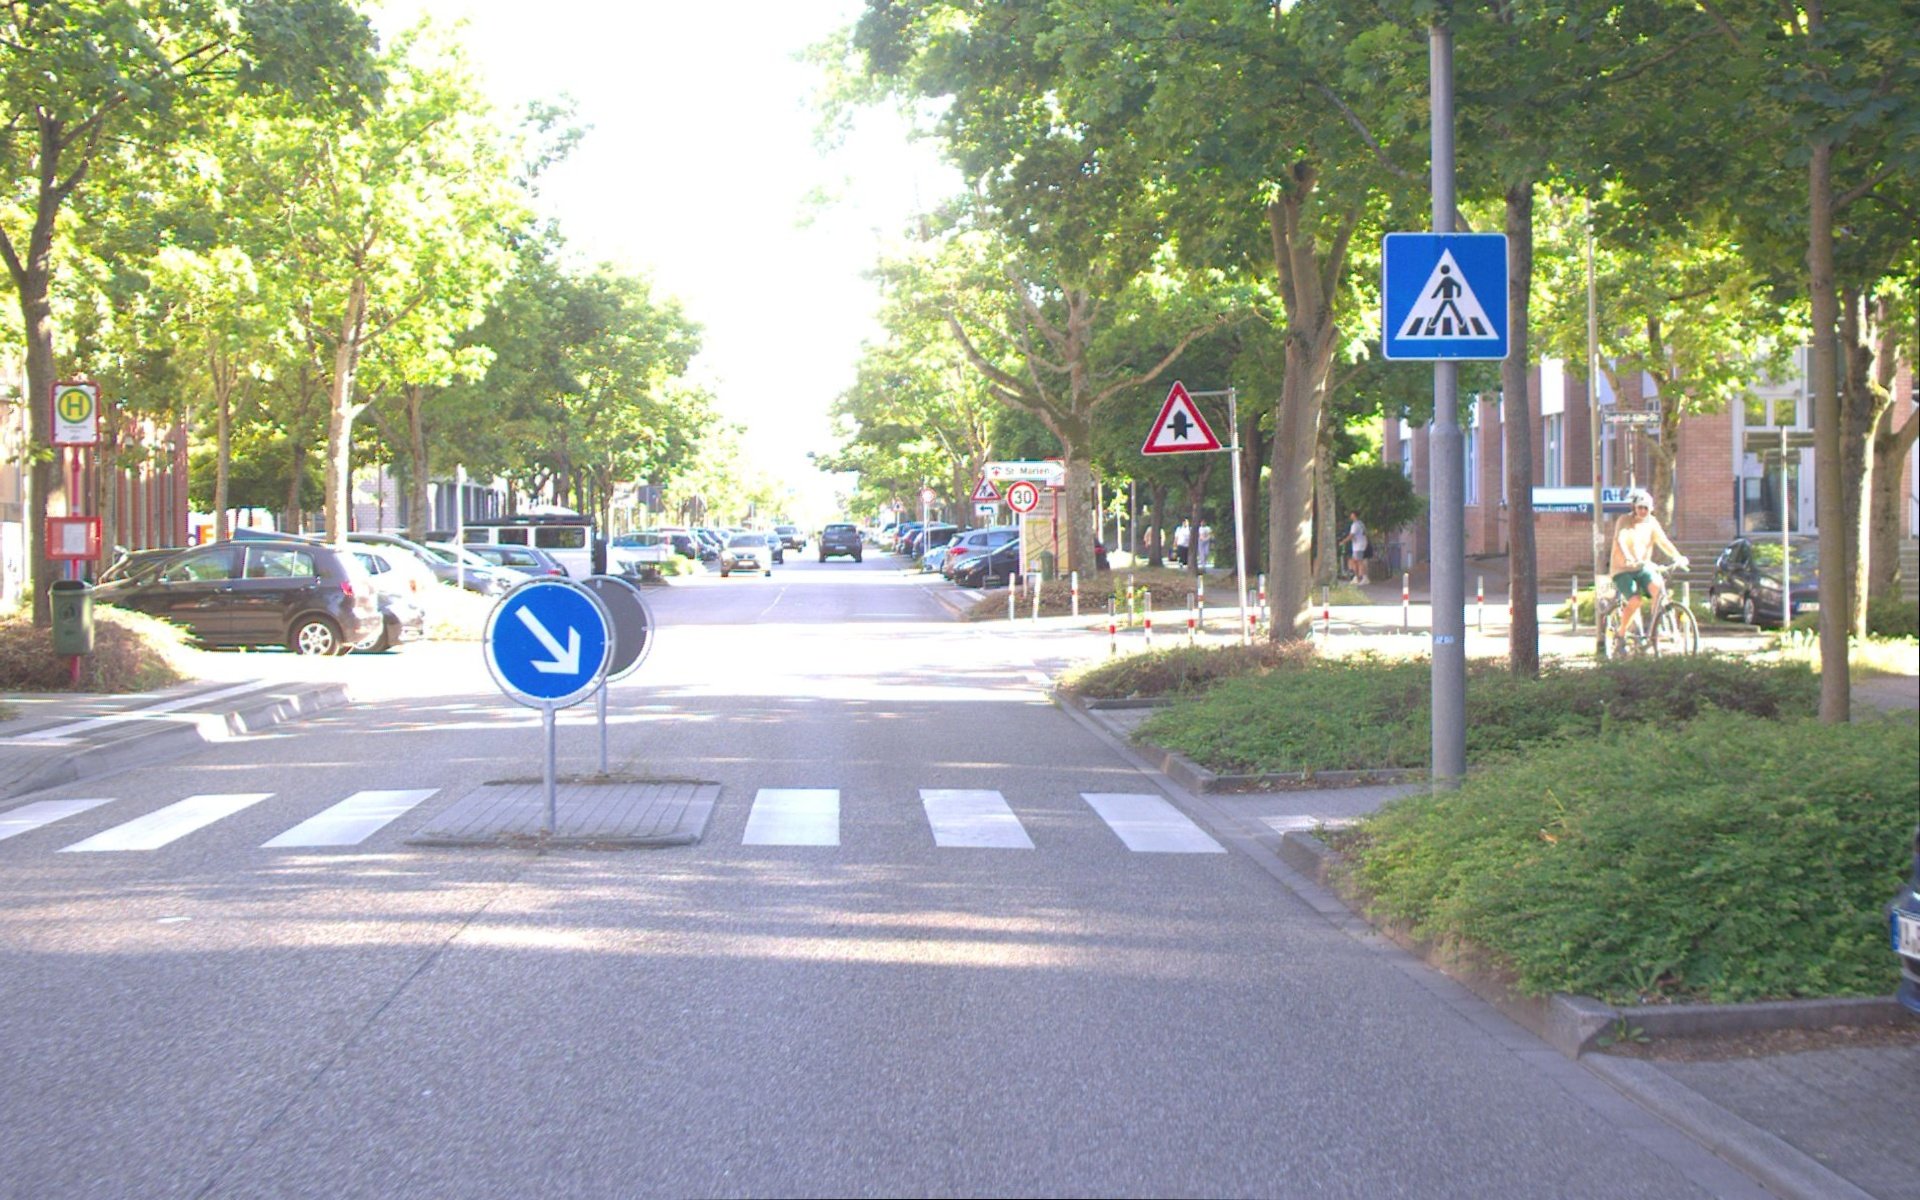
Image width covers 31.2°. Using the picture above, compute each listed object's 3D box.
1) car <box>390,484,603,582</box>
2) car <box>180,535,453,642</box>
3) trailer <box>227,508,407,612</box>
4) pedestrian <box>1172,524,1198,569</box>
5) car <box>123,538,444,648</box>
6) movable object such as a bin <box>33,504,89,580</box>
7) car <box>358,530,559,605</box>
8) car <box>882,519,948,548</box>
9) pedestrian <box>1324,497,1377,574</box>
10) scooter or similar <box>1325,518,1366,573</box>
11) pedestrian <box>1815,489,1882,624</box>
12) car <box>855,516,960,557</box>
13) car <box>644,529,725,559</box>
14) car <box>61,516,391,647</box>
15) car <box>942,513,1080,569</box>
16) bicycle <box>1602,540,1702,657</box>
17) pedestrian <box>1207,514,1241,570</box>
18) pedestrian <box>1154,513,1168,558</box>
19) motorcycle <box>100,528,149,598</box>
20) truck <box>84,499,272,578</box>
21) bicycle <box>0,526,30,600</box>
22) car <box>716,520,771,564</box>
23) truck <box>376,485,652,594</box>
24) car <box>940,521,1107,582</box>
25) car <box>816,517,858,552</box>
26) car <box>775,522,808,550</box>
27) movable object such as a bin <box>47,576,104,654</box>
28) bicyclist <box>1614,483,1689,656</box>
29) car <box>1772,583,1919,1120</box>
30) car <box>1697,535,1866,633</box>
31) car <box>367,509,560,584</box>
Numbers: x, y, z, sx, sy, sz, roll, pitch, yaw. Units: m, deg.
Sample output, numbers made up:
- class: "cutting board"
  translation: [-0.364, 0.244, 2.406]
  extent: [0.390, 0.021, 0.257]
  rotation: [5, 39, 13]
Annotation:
- class: "car"
  translation: [-10.169, -1.479, 75.733]
  extent: [4.481, 2.044, 2.000]
  rotation: [1, 1, -4]
- class: "car"
  translation: [-9.559, -0.183, 51.241]
  extent: [3.754, 1.447, 1.755]
  rotation: [2, 2, -2]
- class: "trailer"
  translation: [-10.865, -0.683, 58.215]
  extent: [2.725, 1.681, 1.712]
  rotation: [1, 1, -1]
- class: "pedestrian"
  translation: [7.310, -1.738, 111.745]
  extent: [0.700, 1.453, 0.716]
  rotation: [-1, 1, -4]
- class: "car"
  translation: [-9.443, -0.109, 48.200]
  extent: [4.151, 1.398, 1.801]
  rotation: [2, 1, -2]
- class: "movable object such as a bin"
  translation: [-19.490, -1.268, 74.586]
  extent: [1.144, 1.614, 1.442]
  rotation: [-1, 1, -14]
- class: "car"
  translation: [-10.252, -0.673, 70.427]
  extent: [3.834, 1.456, 1.732]
  rotation: [1, 1, 1]
- class: "car"
  translation: [-2.843, -4.179, 215.932]
  extent: [3.986, 1.786, 2.001]
  rotation: [0, 1, -7]
- class: "pedestrian"
  translation: [9.009, -1.496, 79.356]
  extent: [0.917, 1.705, 0.698]
  rotation: [-4, 2, -15]
- class: "scooter or similar"
  translation: [9.481, -1.335, 84.581]
  extent: [0.548, 1.321, 1.806]
  rotation: [1, 1, -7]
- class: "pedestrian"
  translation: [10.453, -0.515, 40.451]
  extent: [0.537, 1.577, 0.648]
  rotation: [-1, 1, -11]
- class: "car"
  translation: [-2.224, -2.662, 144.180]
  extent: [4.267, 1.628, 1.858]
  rotation: [-1, 1, -4]
- class: "car"
  translation: [-13.619, -2.784, 170.024]
  extent: [3.892, 1.459, 1.858]
  rotation: [0, 1, -3]
- class: "car"
  translation: [-9.650, -0.263, 45.431]
  extent: [3.986, 1.565, 1.728]
  rotation: [2, 1, -2]
- class: "car"
  translation: [1.680, -1.969, 114.260]
  extent: [4.404, 1.612, 1.912]
  rotation: [-3, 2, -2]
- class: "bicycle"
  translation: [6.619, -0.034, 32.934]
  extent: [0.534, 1.074, 1.920]
  rotation: [0, 1, -1]
- class: "pedestrian"
  translation: [8.292, -1.832, 108.006]
  extent: [0.695, 1.705, 0.921]
  rotation: [-4, 2, -13]
- class: "pedestrian"
  translation: [6.543, -2.104, 111.788]
  extent: [0.380, 1.436, 0.433]
  rotation: [1, 1, -5]
- class: "motorcycle"
  translation: [-19.368, -0.880, 79.690]
  extent: [0.714, 1.585, 2.110]
  rotation: [-1, 1, -4]
- class: "truck"
  translation: [-27.611, -2.179, 121.520]
  extent: [6.103, 2.695, 2.578]
  rotation: [-1, 1, -4]
- class: "bicycle"
  translation: [-18.733, -0.728, 65.773]
  extent: [1.724, 1.404, 0.615]
  rotation: [1, 1, -25]
- class: "car"
  translation: [-7.466, -2.010, 118.880]
  extent: [1.779, 1.506, 4.001]
  rotation: [0, 1, -2]
- class: "truck"
  translation: [-10.466, -1.423, 81.062]
  extent: [6.231, 2.413, 2.187]
  rotation: [-1, 1, -1]
- class: "car"
  translation: [1.753, -1.348, 95.540]
  extent: [4.351, 1.592, 1.940]
  rotation: [-1, 1, -8]
- class: "car"
  translation: [-5.788, -3.070, 161.130]
  extent: [1.933, 1.592, 4.367]
  rotation: [-1, 1, -2]
- class: "car"
  translation: [-10.238, -3.898, 208.314]
  extent: [1.891, 1.678, 4.354]
  rotation: [-1, 1, -4]
- class: "movable object such as a bin"
  translation: [-8.515, 0.141, 33.086]
  extent: [0.441, 0.728, 0.408]
  rotation: [1, 1, -2]
- class: "bicyclist"
  translation: [6.617, -0.300, 32.911]
  extent: [0.537, 1.631, 0.822]
  rotation: [0, 1, -1]
- class: "car"
  translation: [4.497, 0.576, 9.306]
  extent: [4.114, 1.366, 1.655]
  rotation: [-3, 1, -5]
- class: "car"
  translation: [13.175, -0.292, 55.336]
  extent: [1.652, 1.457, 3.918]
  rotation: [0, 2, -2]
- class: "car"
  translation: [-10.401, -1.126, 72.227]
  extent: [3.778, 1.487, 1.833]
  rotation: [1, 1, -1]
